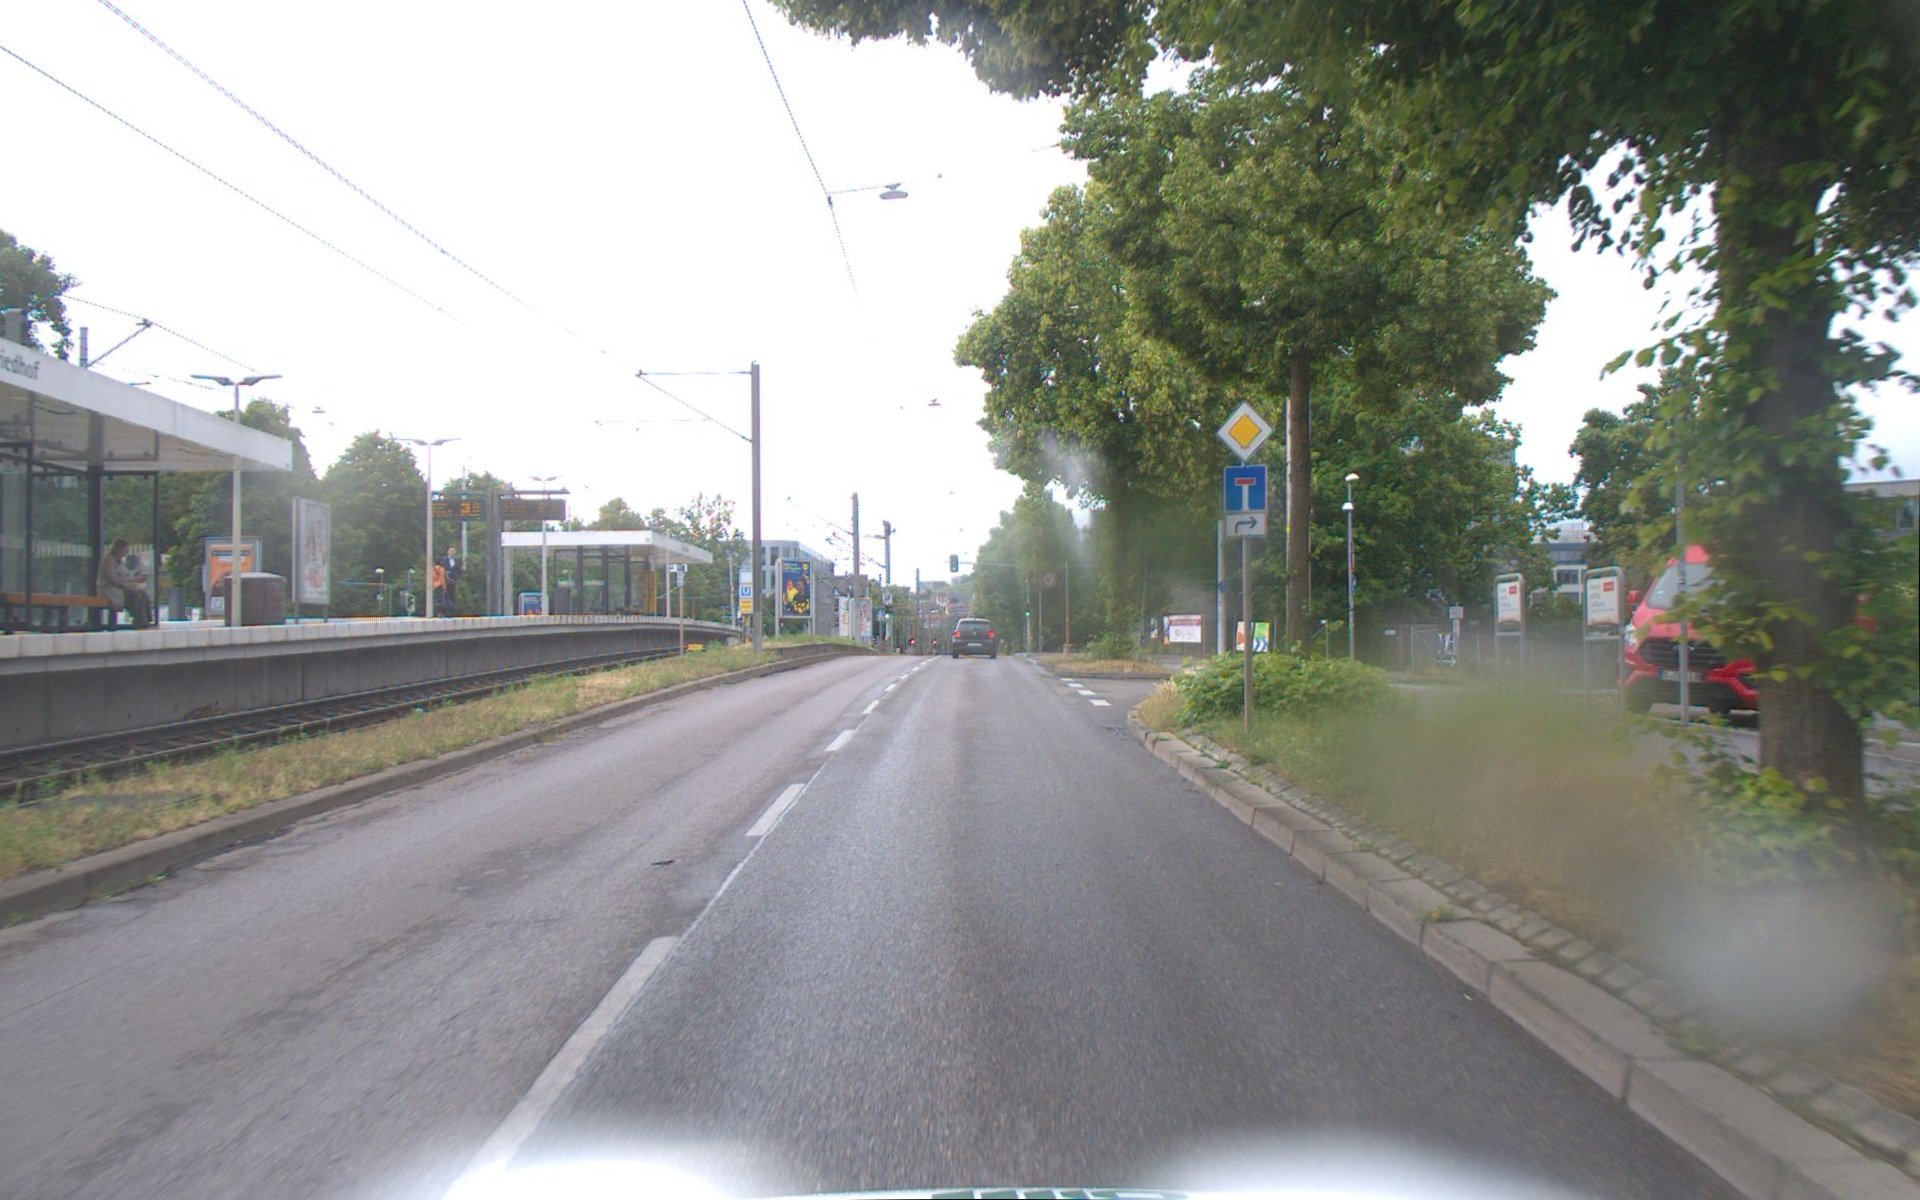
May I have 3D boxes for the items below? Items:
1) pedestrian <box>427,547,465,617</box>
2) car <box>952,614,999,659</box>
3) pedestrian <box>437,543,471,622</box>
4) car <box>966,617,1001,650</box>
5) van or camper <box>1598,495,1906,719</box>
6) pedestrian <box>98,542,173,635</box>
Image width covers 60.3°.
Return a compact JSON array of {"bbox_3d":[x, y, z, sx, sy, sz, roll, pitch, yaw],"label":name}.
[{"bbox_3d":[-12.576,-0.452,40.447,0.783,1.675,0.913,1,1,-21],"label":"pedestrian"},{"bbox_3d":[0.547,1.342,61.585,1.691,1.567,4.000,0,0,0],"label":"car"},{"bbox_3d":[-12.675,-0.454,41.422,0.732,1.943,0.837,1,1,-21],"label":"pedestrian"},{"bbox_3d":[1.171,1.692,84.303,1.653,1.544,3.999,0,0,-1],"label":"car"},{"bbox_3d":[10.104,0.149,20.839,2.005,2.448,5.359,4,0,42],"label":"van or camper"},{"bbox_3d":[-11.189,-0.153,22.465,0.696,1.247,0.619,0,0,-1],"label":"pedestrian"}]
